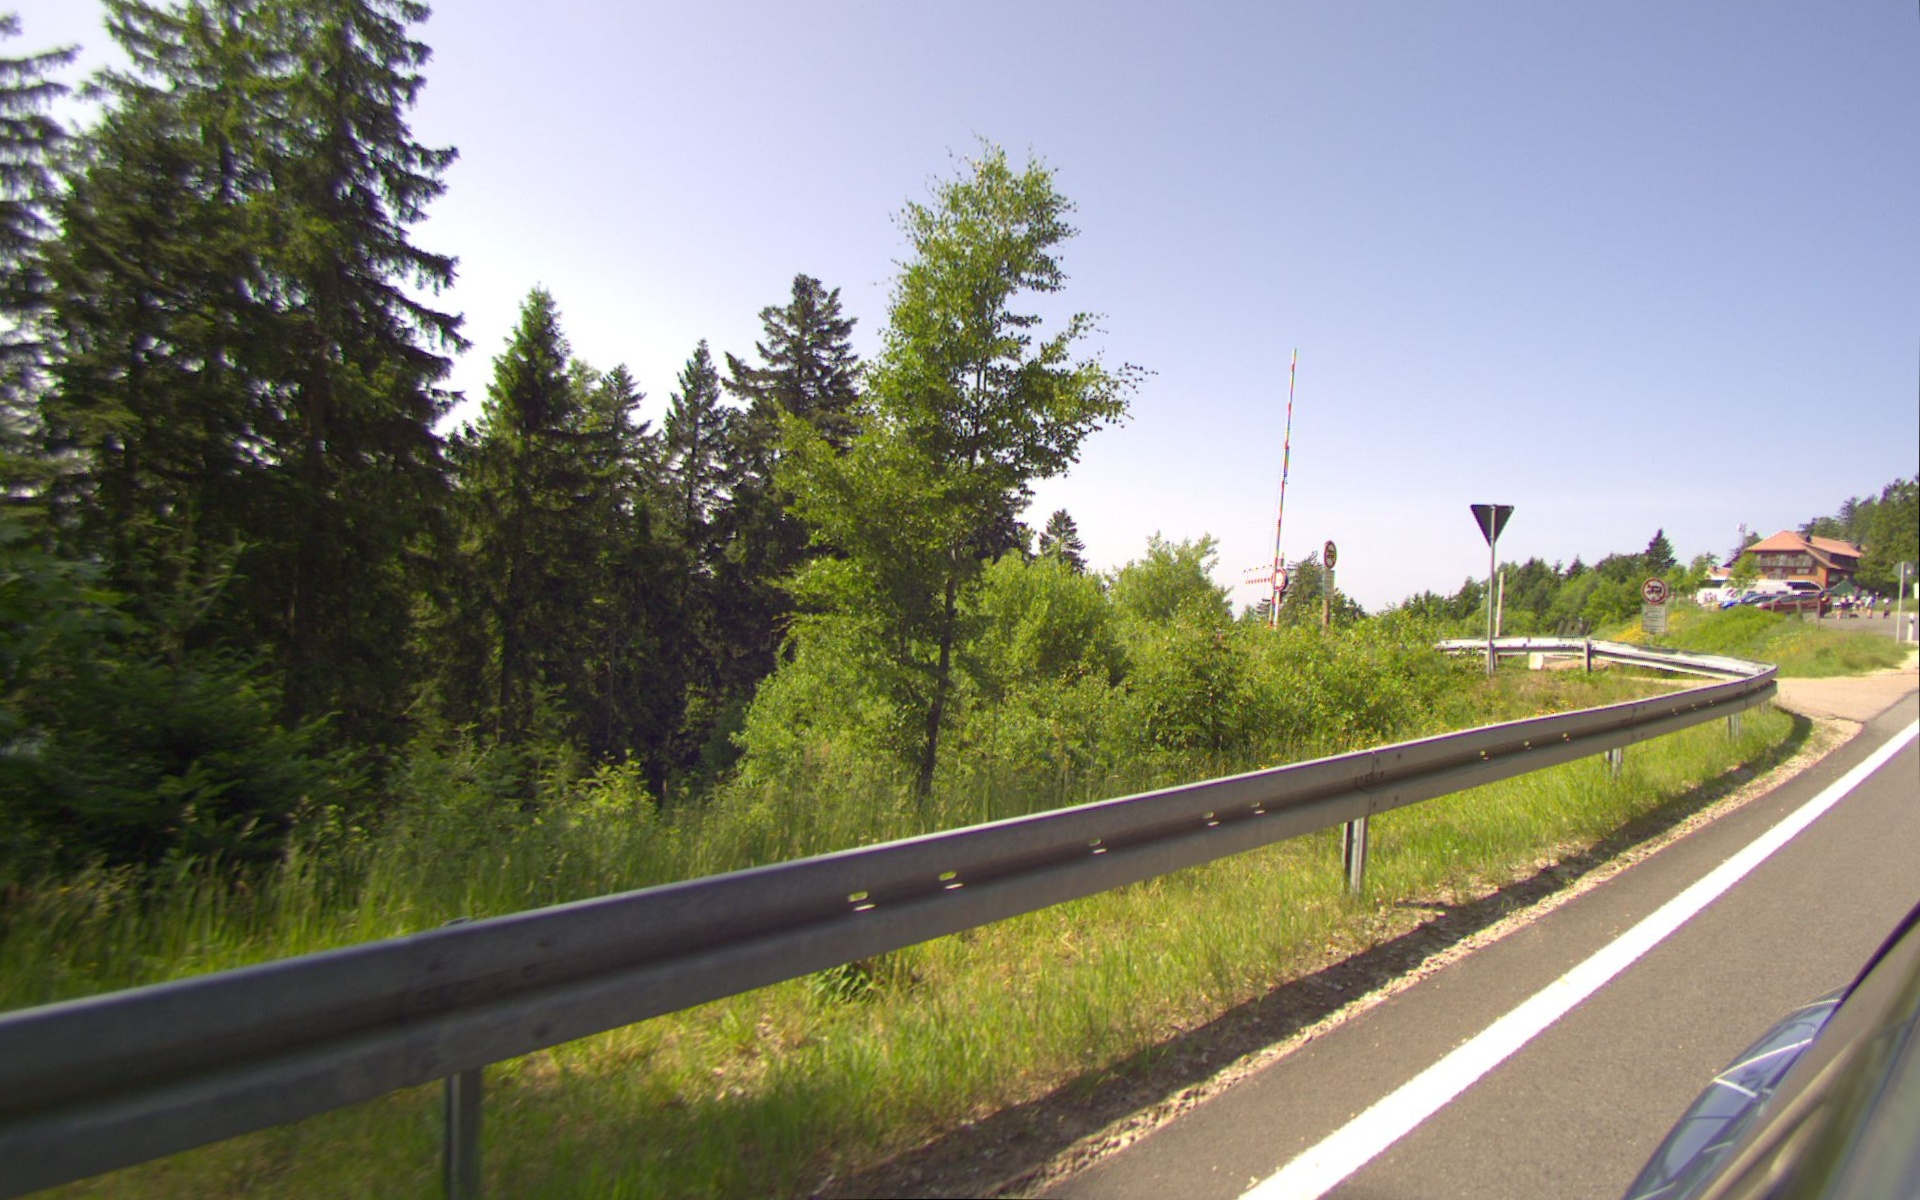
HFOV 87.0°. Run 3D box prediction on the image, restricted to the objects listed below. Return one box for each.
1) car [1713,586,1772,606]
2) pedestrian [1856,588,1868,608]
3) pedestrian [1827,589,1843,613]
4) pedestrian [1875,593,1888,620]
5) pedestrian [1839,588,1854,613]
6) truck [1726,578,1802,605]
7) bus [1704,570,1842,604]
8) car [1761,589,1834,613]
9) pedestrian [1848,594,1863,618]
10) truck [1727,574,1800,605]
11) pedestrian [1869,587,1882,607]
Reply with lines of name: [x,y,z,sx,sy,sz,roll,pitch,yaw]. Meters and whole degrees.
car: [68.320,-0.334,88.408,3.971,1.668,1.581,0,0,33]
pedestrian: [81.955,-0.175,91.923,0.878,1.762,0.666,1,1,-40]
pedestrian: [62.203,0.064,71.930,0.721,1.607,0.619,3,1,-34]
pedestrian: [64.021,0.452,70.277,0.617,1.797,0.712,2,1,43]
pedestrian: [61.900,0.024,70.683,0.675,1.681,0.654,3,1,-41]
truck: [86.899,-0.944,109.576,6.246,2.623,2.309,3,1,37]
bus: [98.811,-1.577,123.429,12.819,3.621,2.801,3,2,37]
car: [59.707,0.031,72.190,3.800,1.681,1.634,0,0,32]
pedestrian: [63.209,0.409,71.424,0.716,1.713,0.609,2,1,43]
truck: [88.935,-1.180,112.149,6.046,3.235,2.500,3,2,35]
pedestrian: [82.502,-0.283,91.187,0.761,1.782,0.755,1,1,-40]
